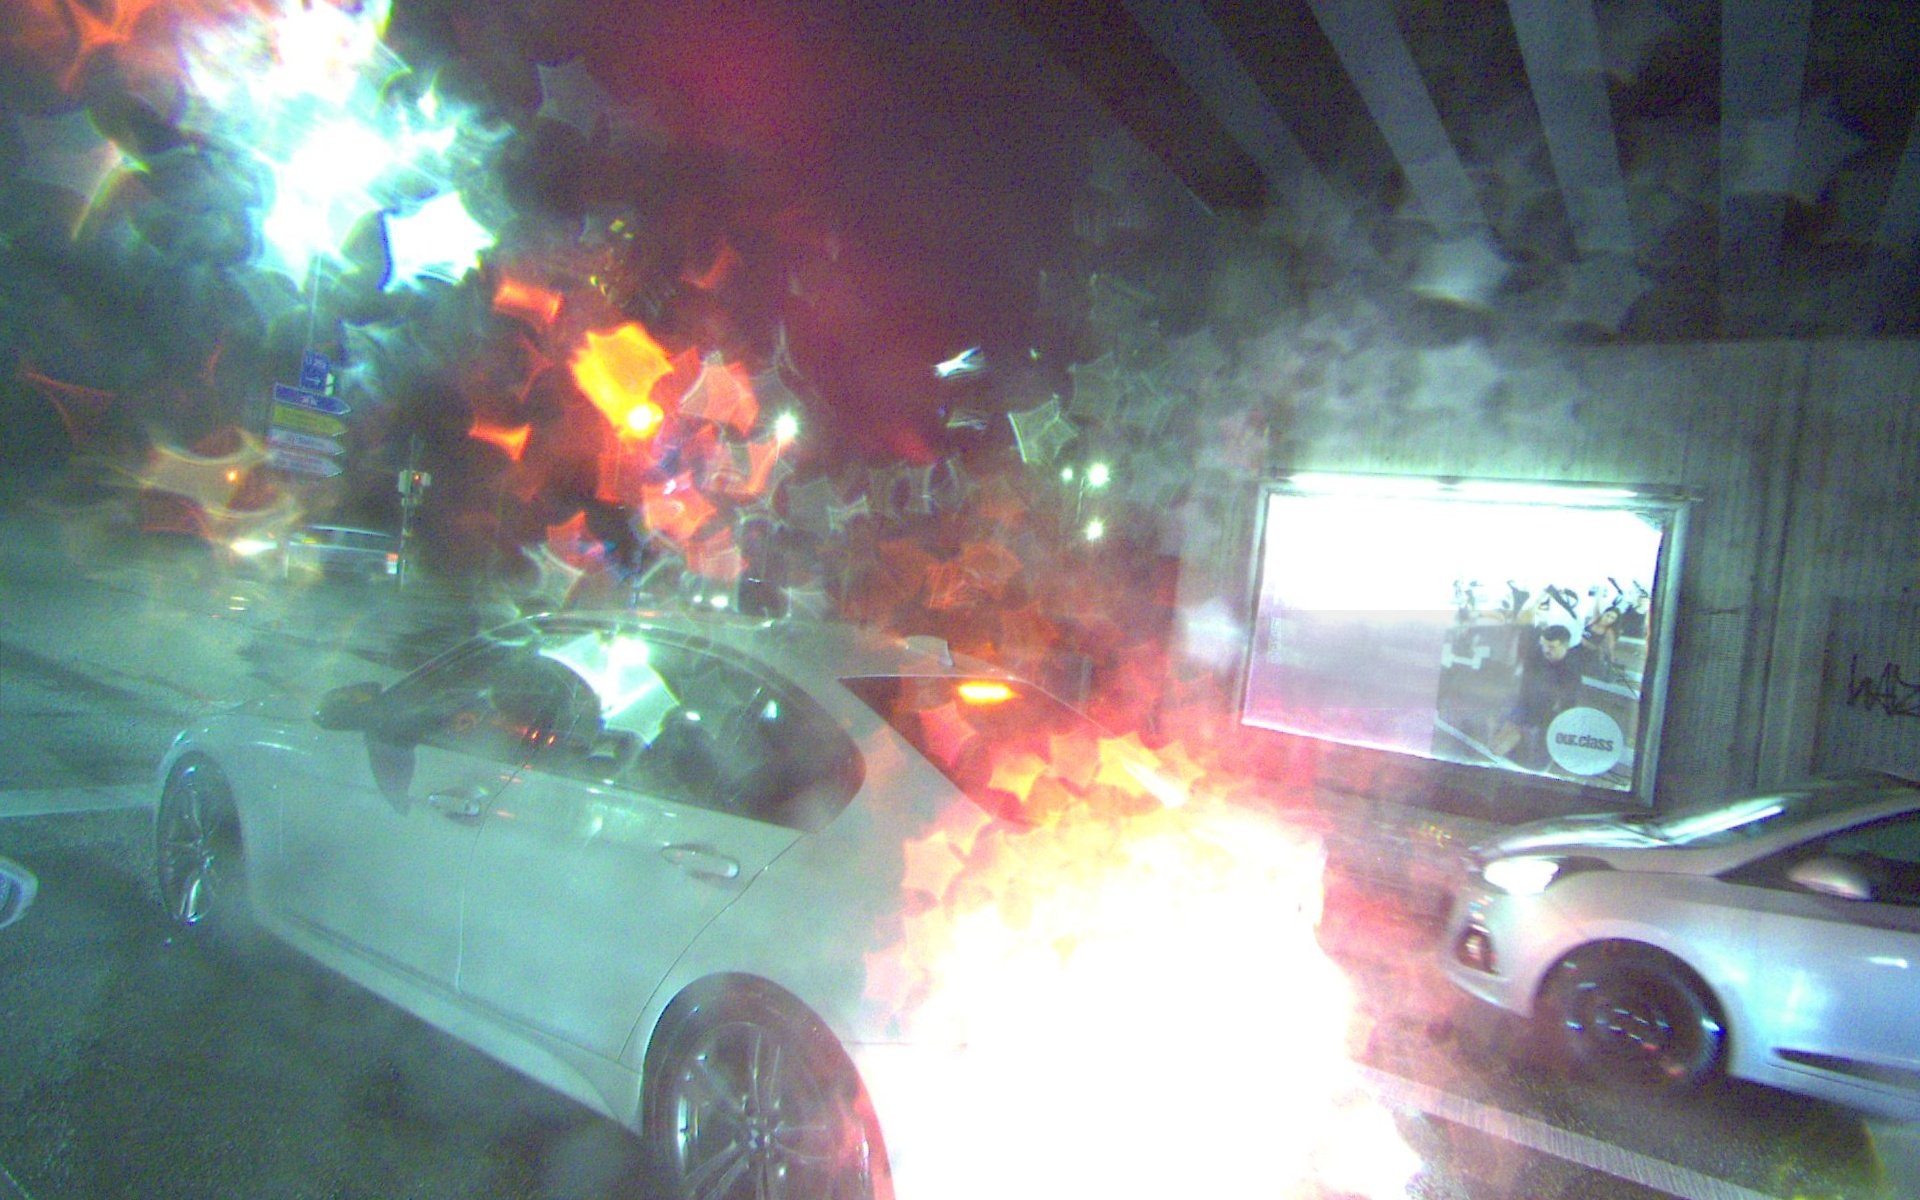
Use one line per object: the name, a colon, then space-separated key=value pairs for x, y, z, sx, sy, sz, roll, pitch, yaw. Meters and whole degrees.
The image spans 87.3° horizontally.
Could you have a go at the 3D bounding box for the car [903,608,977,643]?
car: x=-0.996 y=1.354 z=52.534 sx=1.884 sy=1.606 sz=4.069 roll=0 pitch=-4 yaw=34

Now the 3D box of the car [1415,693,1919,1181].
car: x=3.947 y=1.381 z=4.144 sx=3.532 sy=1.476 sz=1.637 roll=6 pitch=-2 yaw=30

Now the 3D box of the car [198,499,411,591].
car: x=-17.809 y=-1.457 z=27.551 sx=1.879 sy=1.761 sz=4.390 roll=6 pitch=-2 yaw=34

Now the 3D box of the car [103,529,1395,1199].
car: x=-0.979 y=0.712 z=3.502 sx=4.277 sy=1.420 sz=1.720 roll=6 pitch=-2 yaw=32

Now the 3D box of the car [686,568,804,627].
car: x=-8.659 y=-0.064 z=40.836 sx=1.831 sy=1.769 sz=4.496 roll=6 pitch=-2 yaw=35
